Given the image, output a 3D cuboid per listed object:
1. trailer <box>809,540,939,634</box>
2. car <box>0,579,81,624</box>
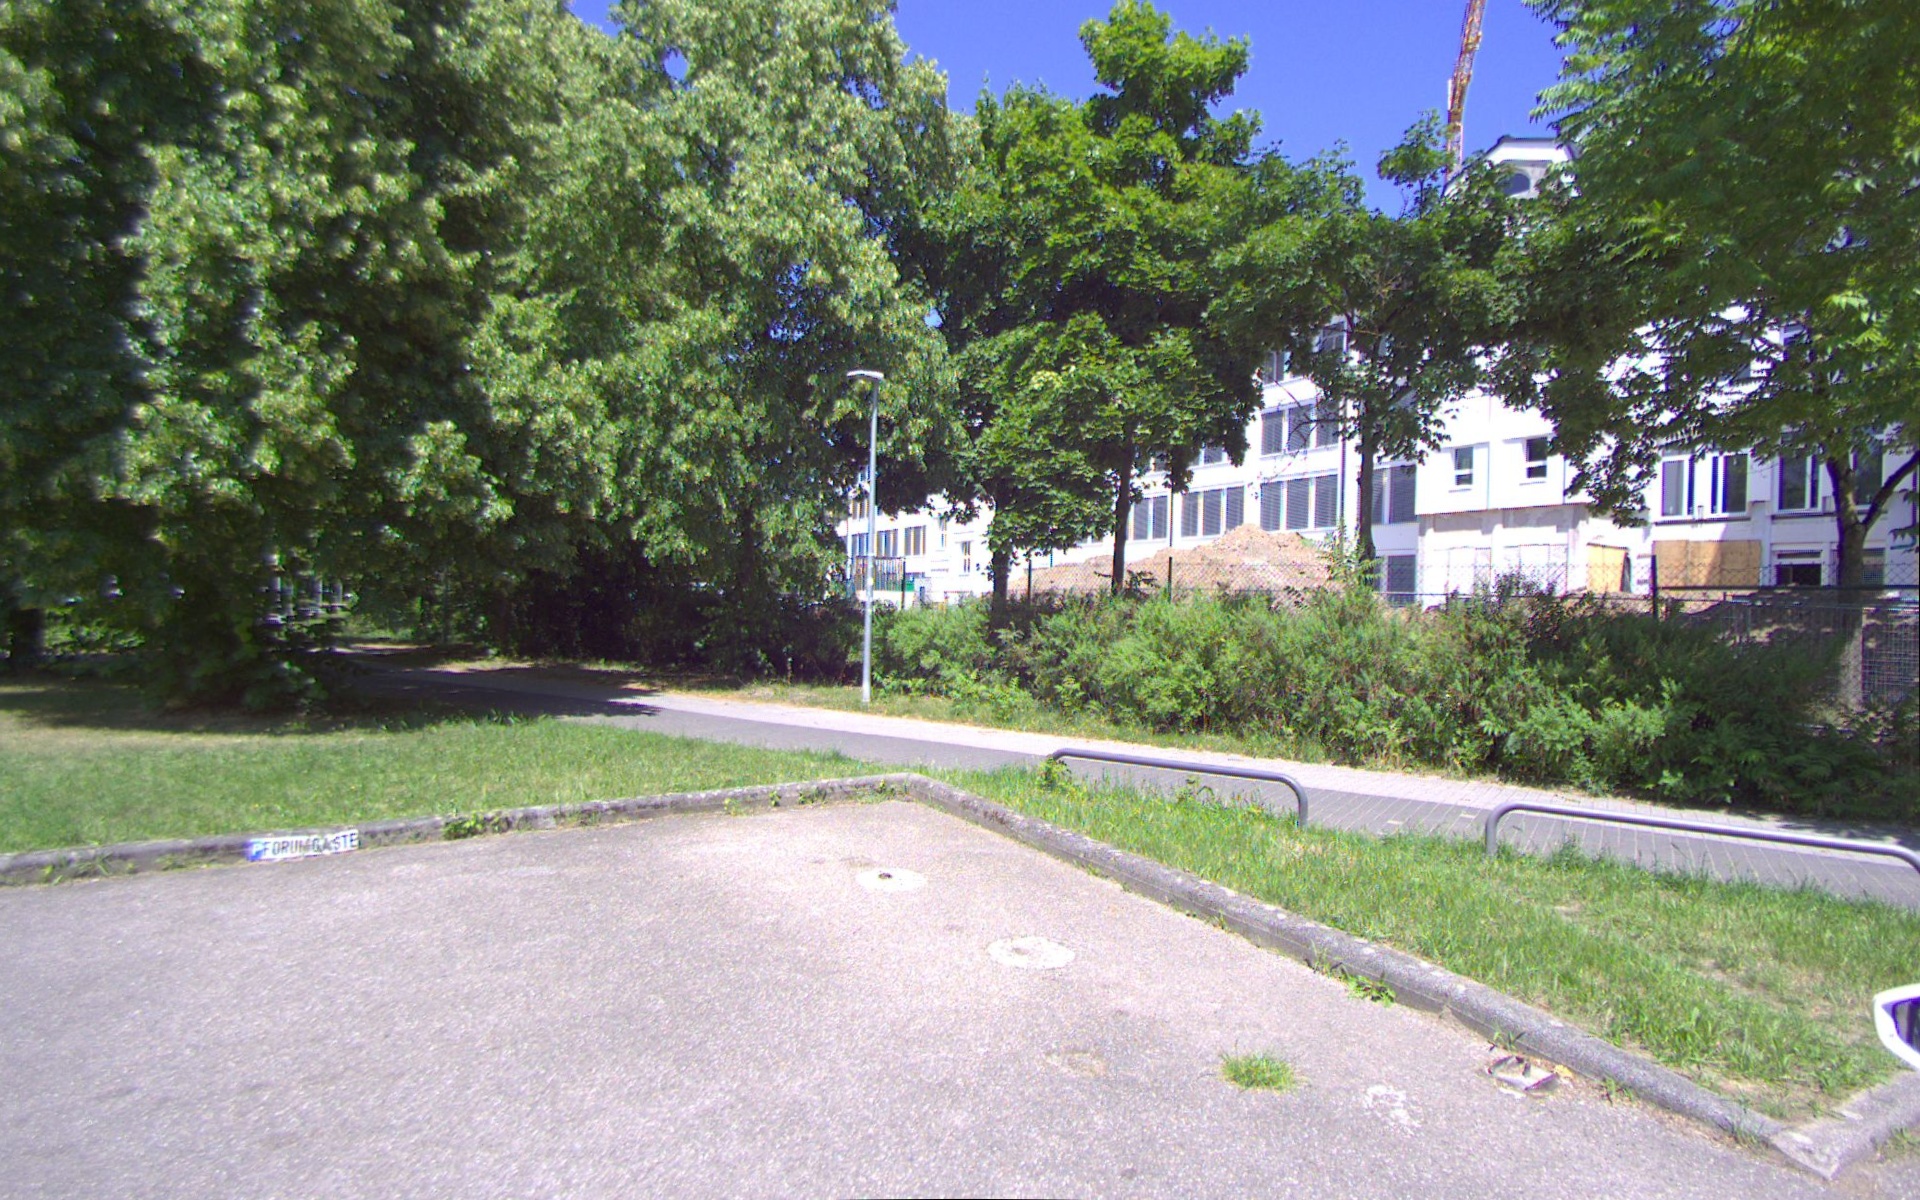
[{"bbox_3d":[-3.880,-0.540,42.659,2.998,3.466,8.726,3,0,-22],"label":"trailer"},{"bbox_3d":[-36.643,0.019,38.501,4.126,1.639,1.958,3,-1,-33],"label":"car"}]
